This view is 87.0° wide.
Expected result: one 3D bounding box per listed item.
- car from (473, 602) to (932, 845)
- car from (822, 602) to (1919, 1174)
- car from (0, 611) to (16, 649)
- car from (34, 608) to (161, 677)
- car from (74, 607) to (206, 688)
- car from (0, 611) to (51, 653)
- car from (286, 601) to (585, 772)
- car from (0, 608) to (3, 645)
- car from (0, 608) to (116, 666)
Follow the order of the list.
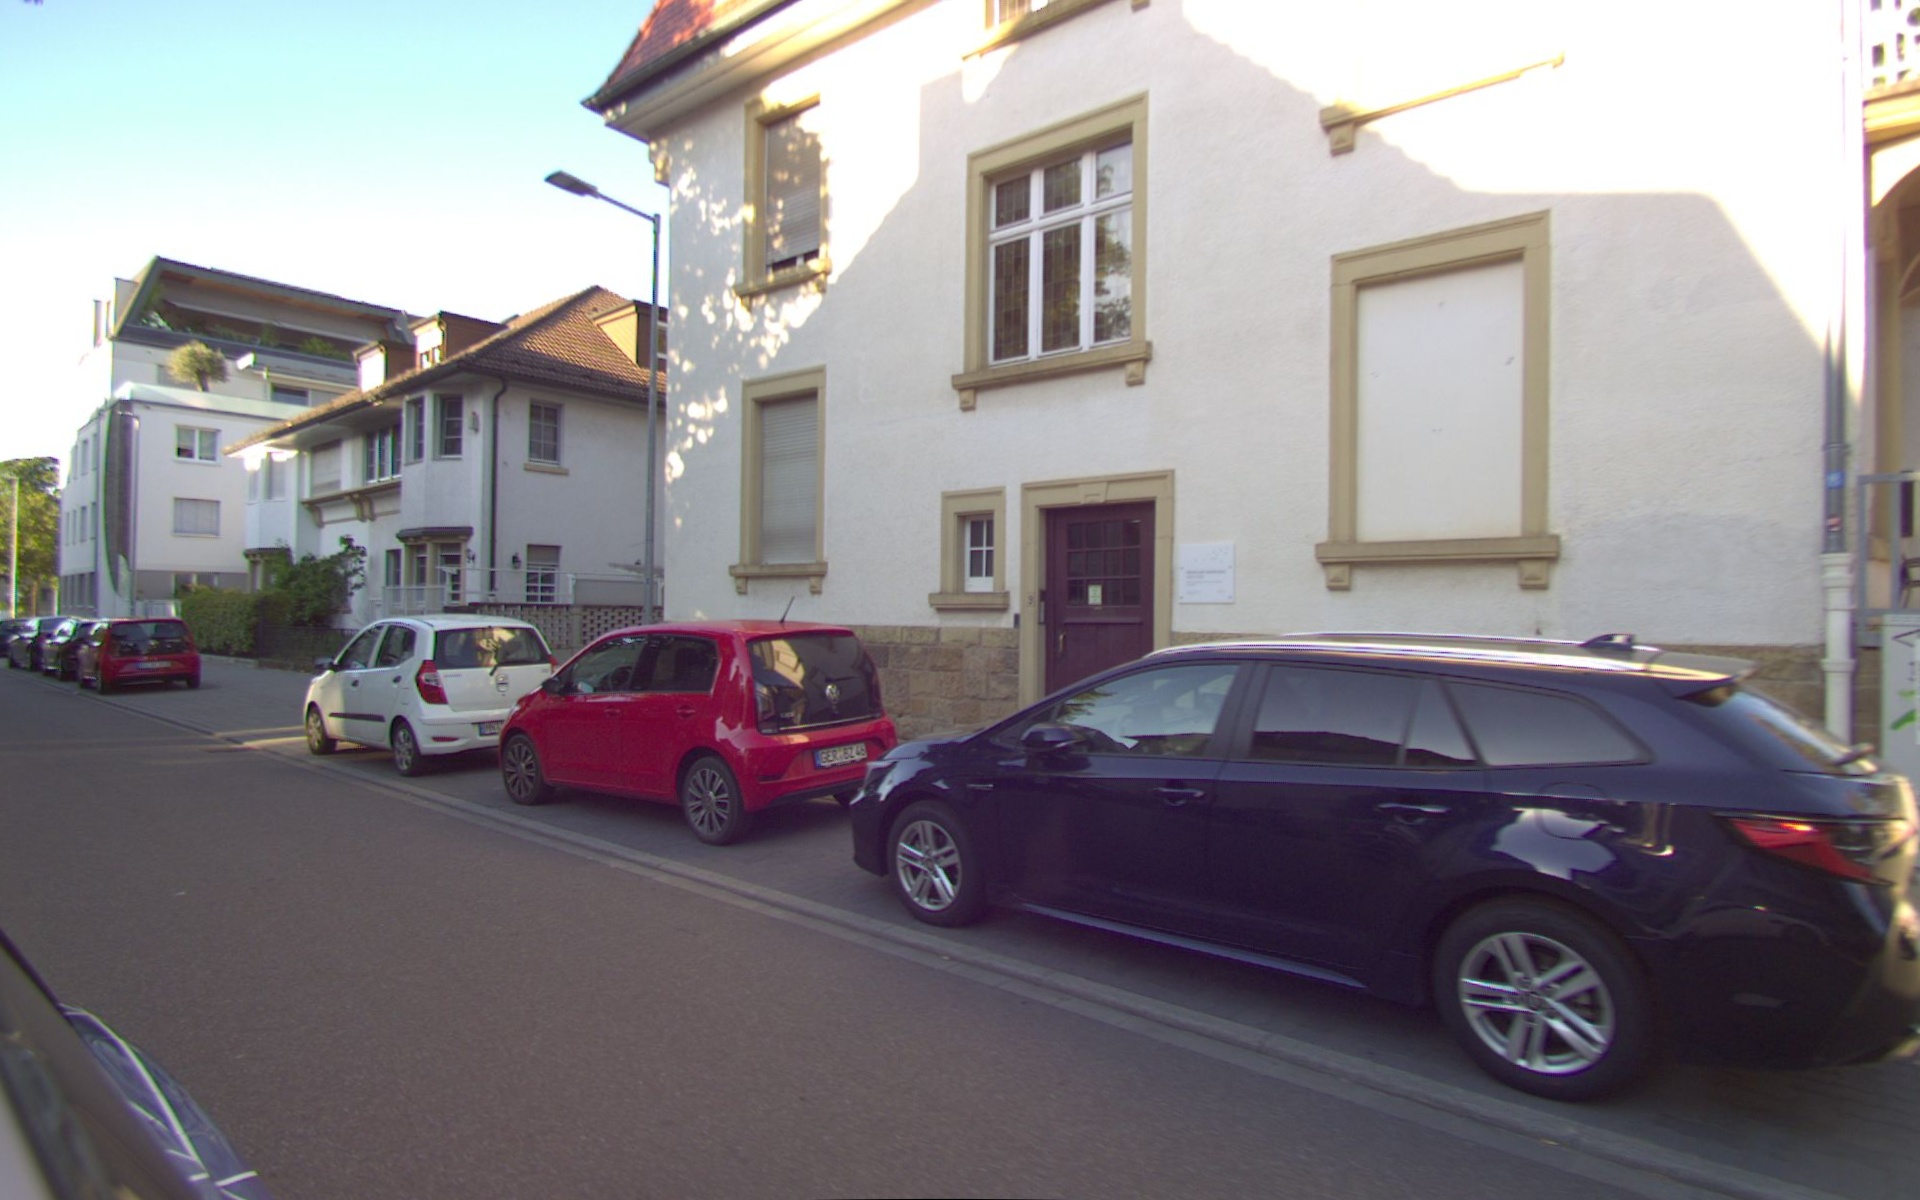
[{"bbox_3d":[-2.147,0.764,7.999,3.700,1.488,1.567,0,0,37],"label":"car"},{"bbox_3d":[1.520,0.750,4.563,4.629,1.465,1.636,0,0,41],"label":"car"},{"bbox_3d":[-38.059,1.154,39.335,3.907,1.405,1.700,-1,0,43],"label":"car"},{"bbox_3d":[-20.873,0.956,24.430,4.376,1.470,1.720,0,1,41],"label":"car"},{"bbox_3d":[-16.888,0.907,20.798,3.429,1.494,1.633,0,1,43],"label":"car"},{"bbox_3d":[-33.867,1.109,36.145,3.907,1.405,1.700,0,0,43],"label":"car"},{"bbox_3d":[-5.757,0.783,10.943,3.703,1.532,1.565,0,0,40],"label":"car"},{"bbox_3d":[-41.356,1.109,42.283,3.907,1.509,1.700,-1,0,43],"label":"car"},{"bbox_3d":[-25.407,0.980,28.414,4.559,1.470,1.721,0,1,39],"label":"car"}]
